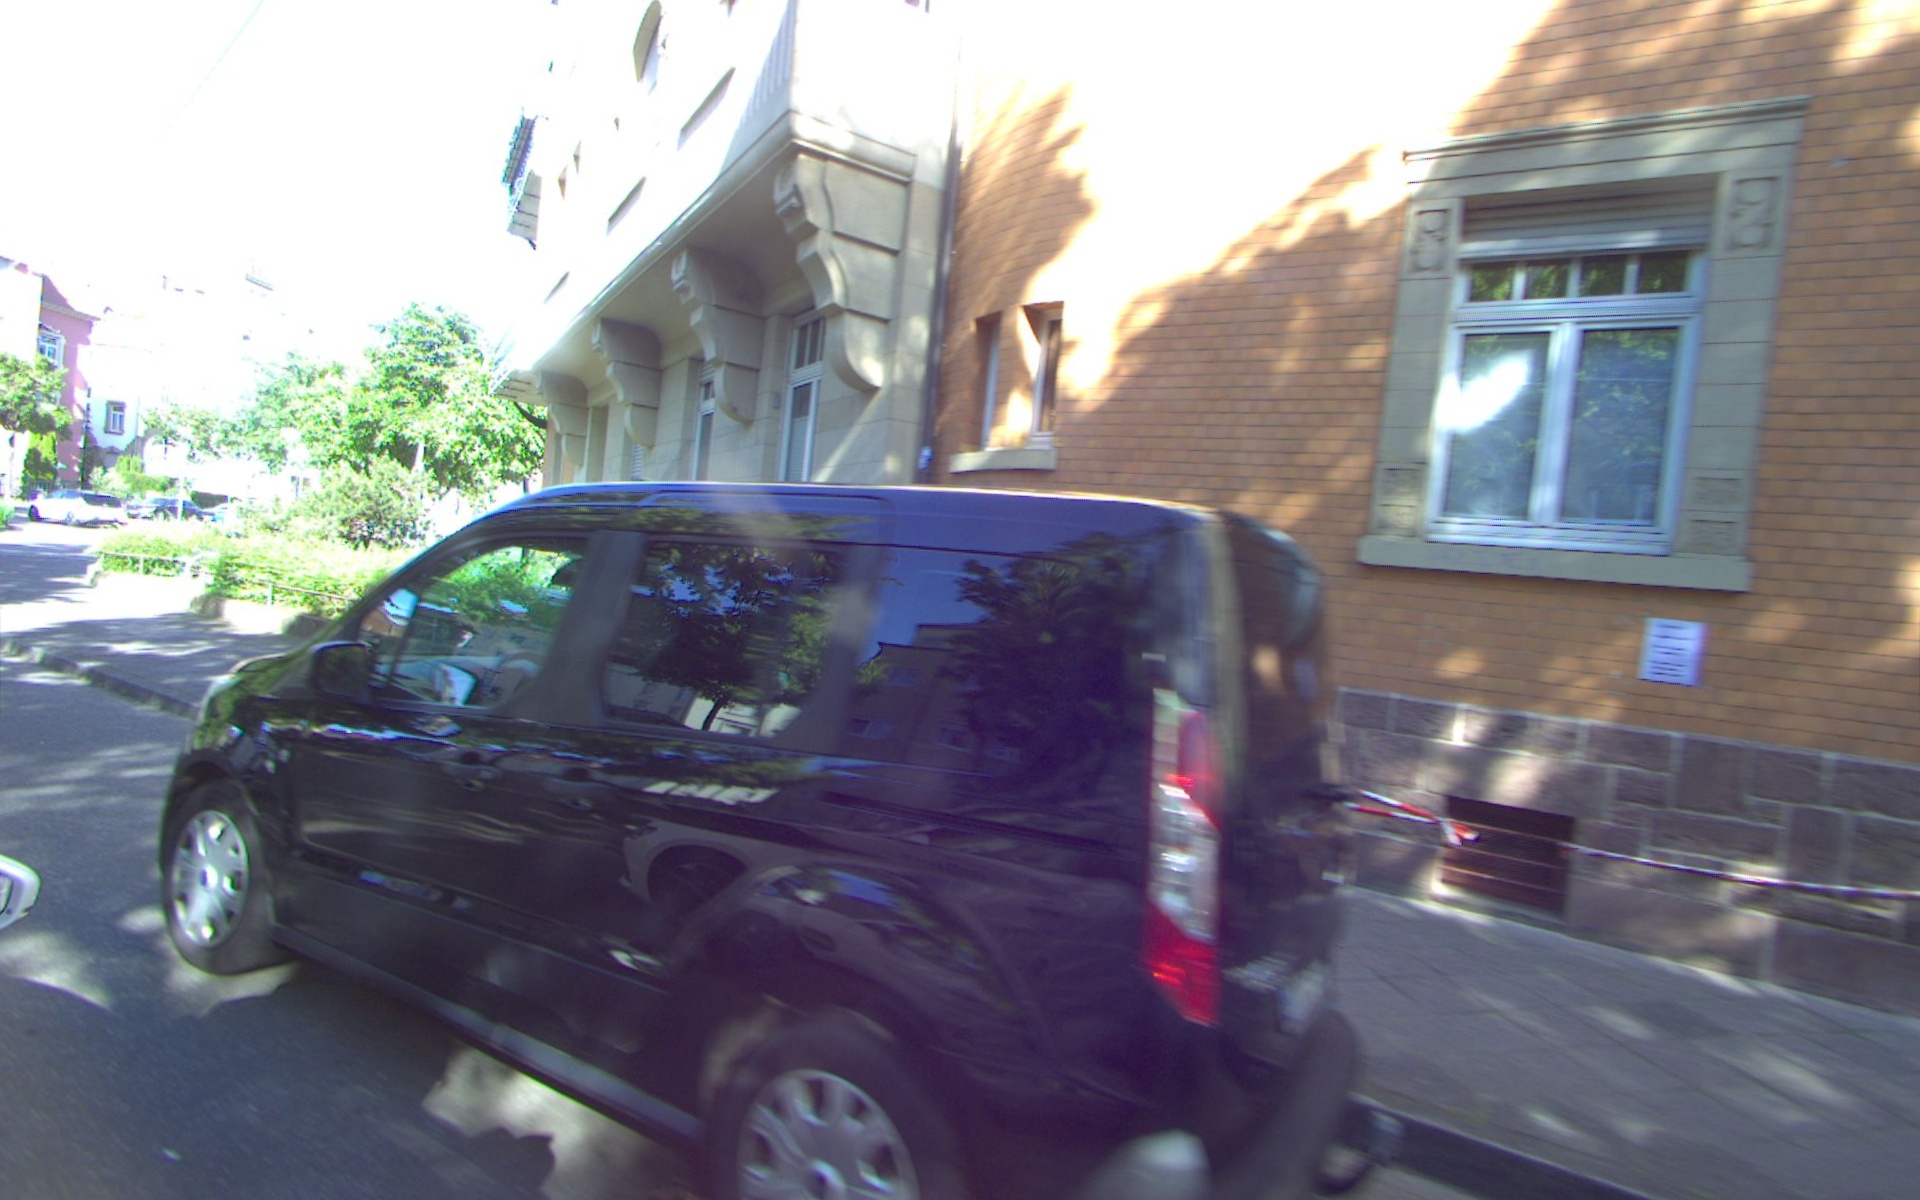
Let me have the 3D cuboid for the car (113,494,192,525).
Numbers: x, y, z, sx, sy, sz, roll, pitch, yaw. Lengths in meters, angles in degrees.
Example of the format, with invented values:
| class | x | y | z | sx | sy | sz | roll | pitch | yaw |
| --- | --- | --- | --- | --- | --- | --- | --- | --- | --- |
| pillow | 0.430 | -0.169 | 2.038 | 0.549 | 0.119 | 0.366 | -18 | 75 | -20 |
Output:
| class | x | y | z | sx | sy | sz | roll | pitch | yaw |
| --- | --- | --- | --- | --- | --- | --- | --- | --- | --- |
| car | -47.709 | -5.324 | 59.536 | 1.728 | 1.387 | 3.640 | 6 | 1 | -3 |

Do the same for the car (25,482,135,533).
| class | x | y | z | sx | sy | sz | roll | pitch | yaw |
| --- | --- | --- | --- | --- | --- | --- | --- | --- | --- |
| car | -35.121 | -3.688 | 40.158 | 3.702 | 1.583 | 1.719 | 6 | 1 | 21 |

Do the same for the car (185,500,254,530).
| class | x | y | z | sx | sy | sz | roll | pitch | yaw |
| --- | --- | --- | --- | --- | --- | --- | --- | --- | --- |
| car | -47.483 | -5.421 | 64.604 | 1.640 | 1.507 | 3.474 | 6 | 1 | 2 |

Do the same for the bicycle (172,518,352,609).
| class | x | y | z | sx | sy | sz | roll | pitch | yaw |
| --- | --- | --- | --- | --- | --- | --- | --- | --- | --- |
| bicycle | -10.779 | -0.545 | 15.622 | 2.207 | 1.174 | 0.384 | 6 | 2 | -33 |

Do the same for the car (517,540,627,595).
| class | x | y | z | sx | sy | sz | roll | pitch | yaw |
| --- | --- | --- | --- | --- | --- | --- | --- | --- | --- |
| car | -12.423 | -1.005 | 32.434 | 1.542 | 1.492 | 3.514 | 7 | 1 | 12 |

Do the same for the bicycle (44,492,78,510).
| class | x | y | z | sx | sy | sz | roll | pitch | yaw |
| --- | --- | --- | --- | --- | --- | --- | --- | --- | --- |
| bicycle | -51.173 | -5.645 | 57.255 | 1.990 | 0.810 | 0.479 | 7 | 2 | 18 |

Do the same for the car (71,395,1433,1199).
| class | x | y | z | sx | sy | sz | roll | pitch | yaw |
| --- | --- | --- | --- | --- | --- | --- | --- | --- | --- |
| car | -0.890 | 0.507 | 3.403 | 4.201 | 1.892 | 1.806 | 7 | -2 | 31 |

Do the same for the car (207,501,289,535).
| class | x | y | z | sx | sy | sz | roll | pitch | yaw |
| --- | --- | --- | --- | --- | --- | --- | --- | --- | --- |
| car | -39.962 | -4.572 | 56.592 | 1.531 | 1.474 | 3.975 | 6 | 1 | 3 |

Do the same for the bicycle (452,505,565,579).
| class | x | y | z | sx | sy | sz | roll | pitch | yaw |
| --- | --- | --- | --- | --- | --- | --- | --- | --- | --- |
| bicycle | -7.721 | -0.979 | 17.249 | 1.666 | 1.074 | 0.384 | 5 | 2 | -33 |

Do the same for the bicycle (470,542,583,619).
| class | x | y | z | sx | sy | sz | roll | pitch | yaw |
| --- | --- | --- | --- | --- | --- | --- | --- | --- | --- |
| bicycle | -6.883 | -0.301 | 16.016 | 1.547 | 1.074 | 0.268 | 5 | 2 | -33 |
